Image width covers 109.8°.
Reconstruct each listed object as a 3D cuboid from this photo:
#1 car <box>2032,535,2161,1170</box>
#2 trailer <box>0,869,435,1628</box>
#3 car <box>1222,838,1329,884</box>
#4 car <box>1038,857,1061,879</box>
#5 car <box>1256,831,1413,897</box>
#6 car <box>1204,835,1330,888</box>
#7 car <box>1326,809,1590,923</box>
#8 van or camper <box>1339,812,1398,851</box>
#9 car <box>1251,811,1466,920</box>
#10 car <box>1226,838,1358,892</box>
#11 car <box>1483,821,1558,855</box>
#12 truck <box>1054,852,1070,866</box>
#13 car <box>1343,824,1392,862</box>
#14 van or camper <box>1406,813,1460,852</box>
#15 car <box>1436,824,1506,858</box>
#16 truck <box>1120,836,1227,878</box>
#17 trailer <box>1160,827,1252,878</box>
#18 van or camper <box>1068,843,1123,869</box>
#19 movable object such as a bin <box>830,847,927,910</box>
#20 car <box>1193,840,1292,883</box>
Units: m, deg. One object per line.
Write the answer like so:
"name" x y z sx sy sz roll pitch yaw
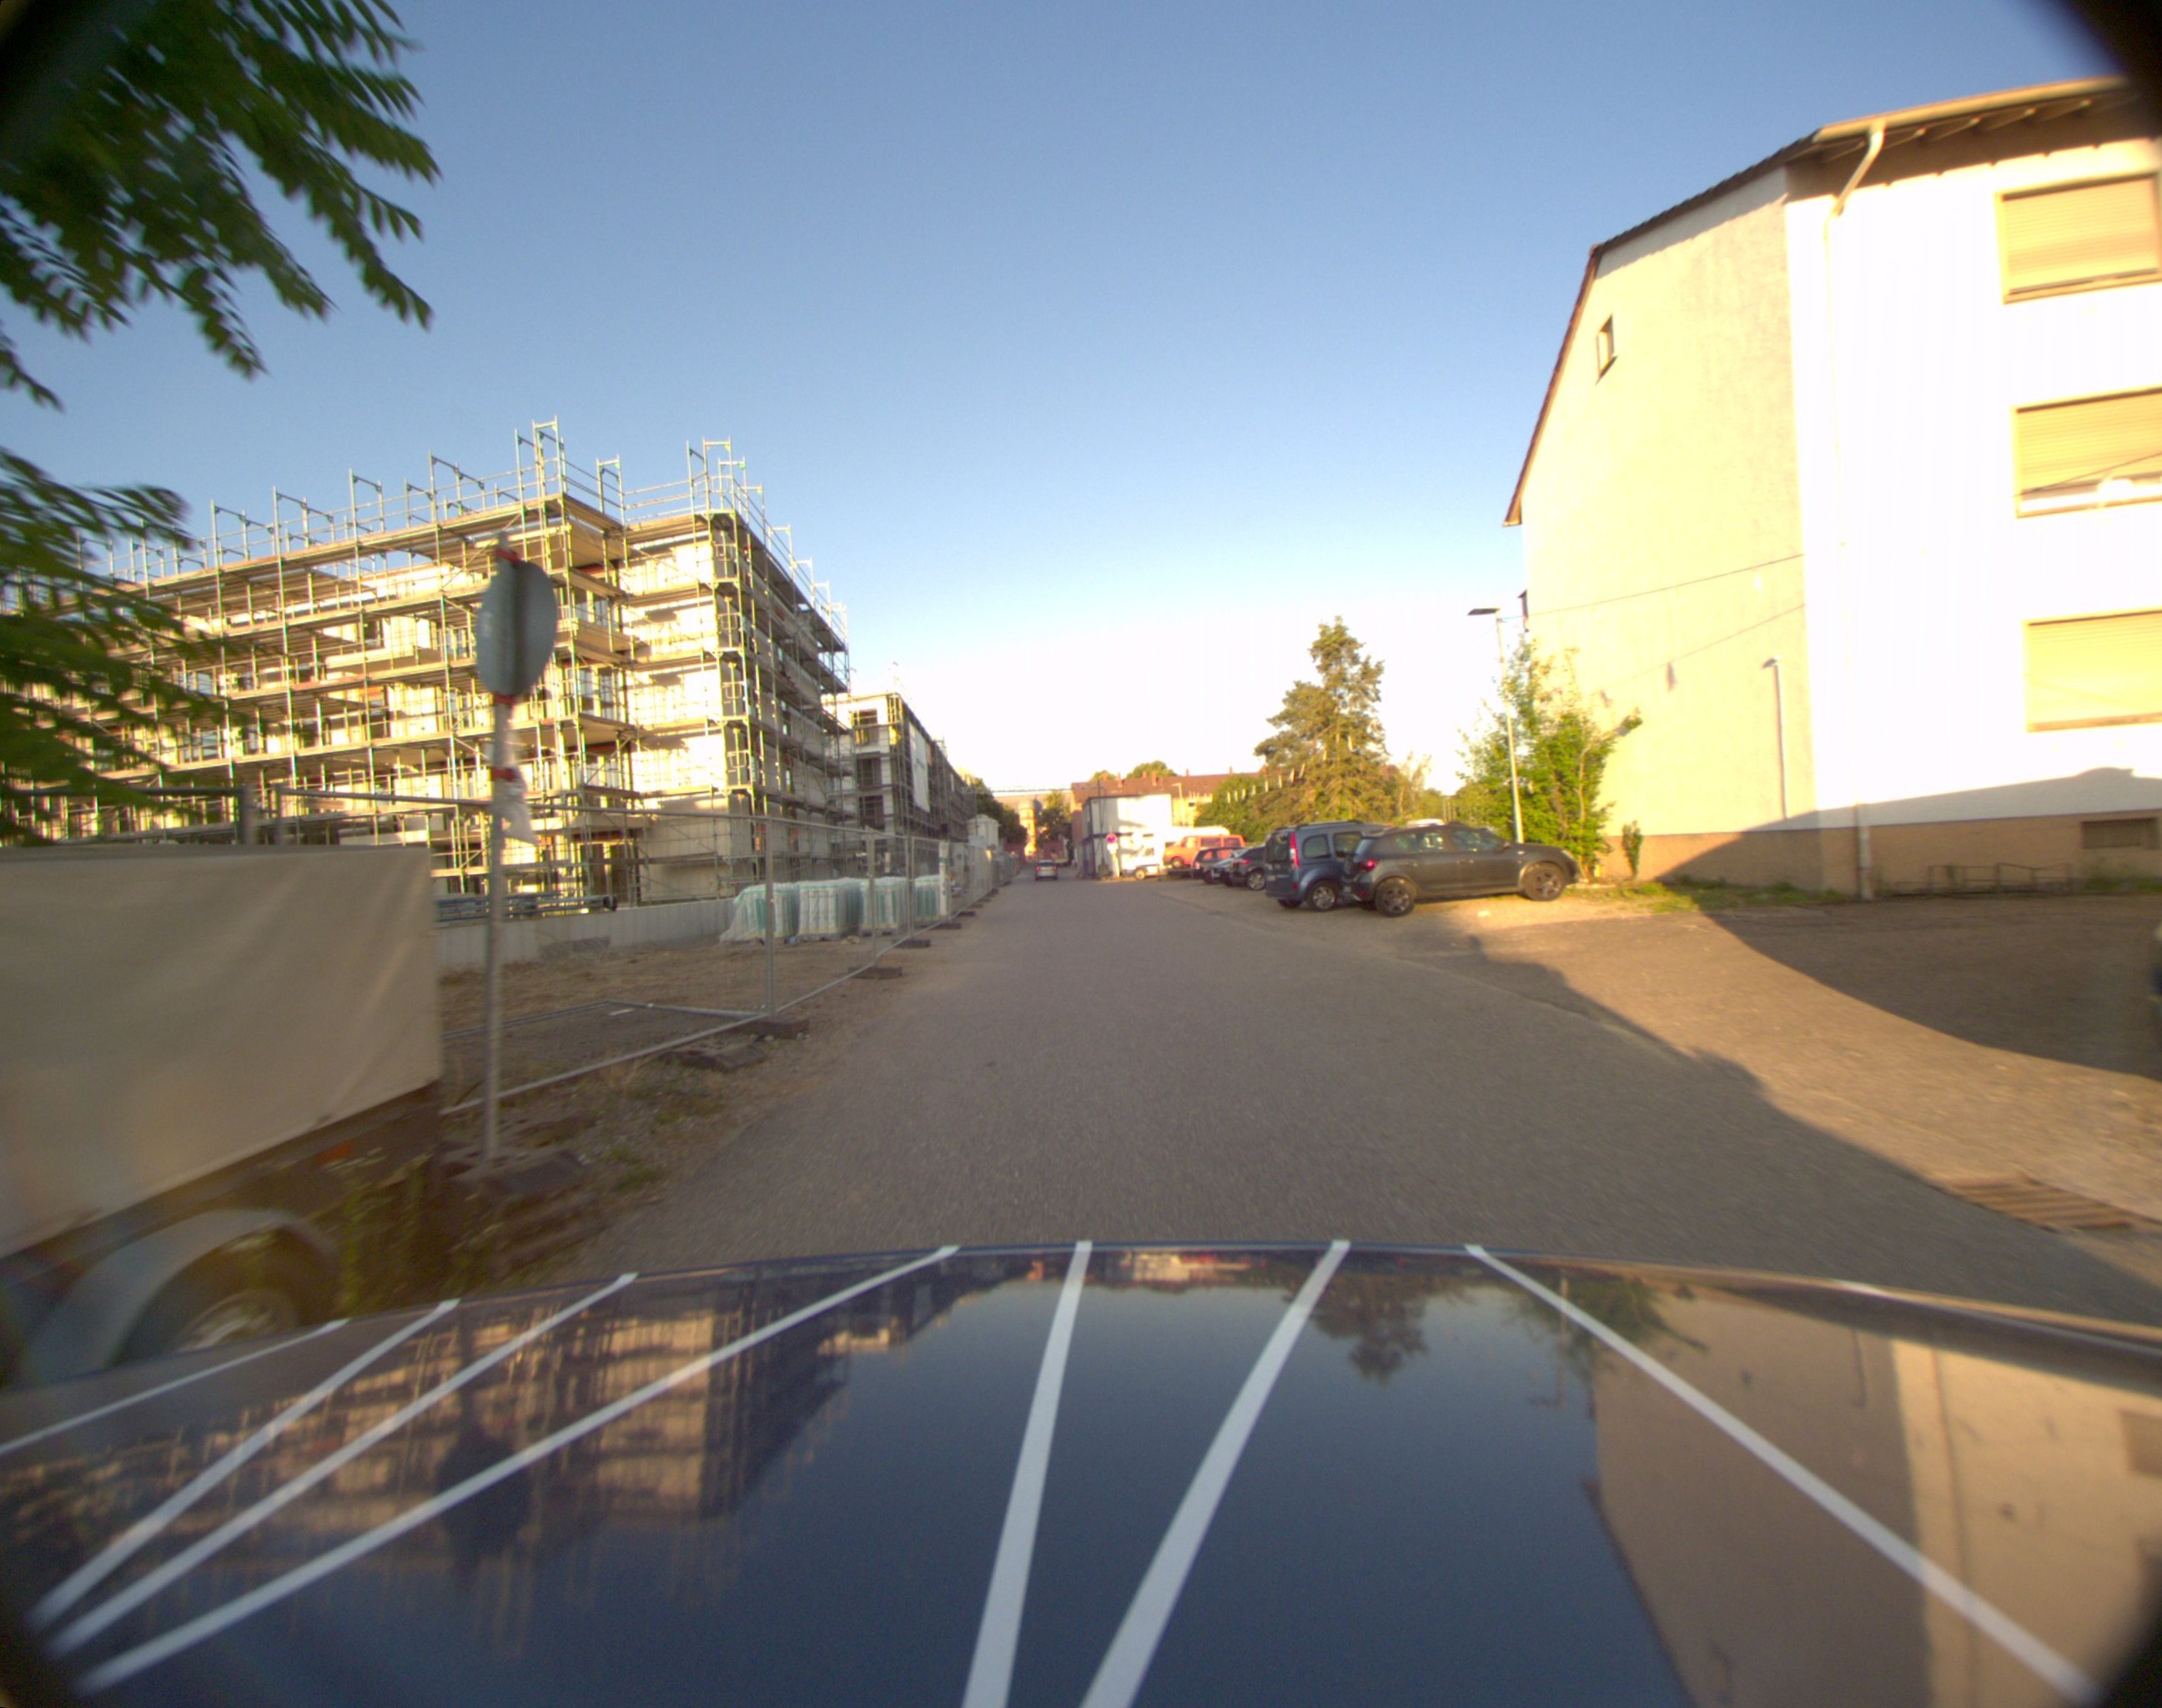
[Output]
"car" 7.792 -0.260 2.709 6.405 2.698 2.112 -5 2 -3
"trailer" -3.040 0.908 1.422 1.254 1.655 2.802 -2 0 -1
"car" 7.900 0.314 31.213 3.933 1.512 1.810 -5 -1 6
"car" -2.496 1.083 61.049 1.675 1.610 4.284 -4 0 -2
"car" 7.197 0.283 21.861 3.934 1.571 1.644 -4 0 3
"car" 6.751 0.298 27.875 4.100 1.618 1.821 -3 -2 0
"car" 6.833 0.221 14.149 3.934 1.642 1.749 -5 0 5
"van or camper" 22.535 -1.716 59.855 2.261 2.754 5.799 -4 0 -1
"car" 5.991 0.233 16.621 3.938 1.900 1.747 -5 0 -10
"car" 6.933 0.337 25.270 3.933 1.508 1.643 -4 1 6
"car" 23.707 -0.835 41.156 1.848 1.659 3.939 -4 0 3
"truck" -3.101 0.810 124.314 1.843 2.089 3.737 -6 1 -10
"car" 18.476 -0.655 49.186 1.847 2.135 4.826 -4 -2 8
"van or camper" 26.496 -1.587 57.415 2.207 2.692 5.751 -4 0 10
"car" 21.052 -0.680 41.191 1.848 1.659 3.939 -4 0 3
"truck" 5.499 0.182 45.632 6.027 2.031 2.355 -4 0 0
"trailer" 6.979 -0.100 42.861 4.803 2.419 2.134 -5 2 4
"van or camper" 1.773 0.247 93.704 6.471 2.625 2.407 -6 0 -1
"movable object such as a bin" -8.489 0.926 32.819 2.070 2.260 8.366 -3 0 -2
"car" 7.114 0.327 33.839 4.044 1.610 1.850 -4 1 6
